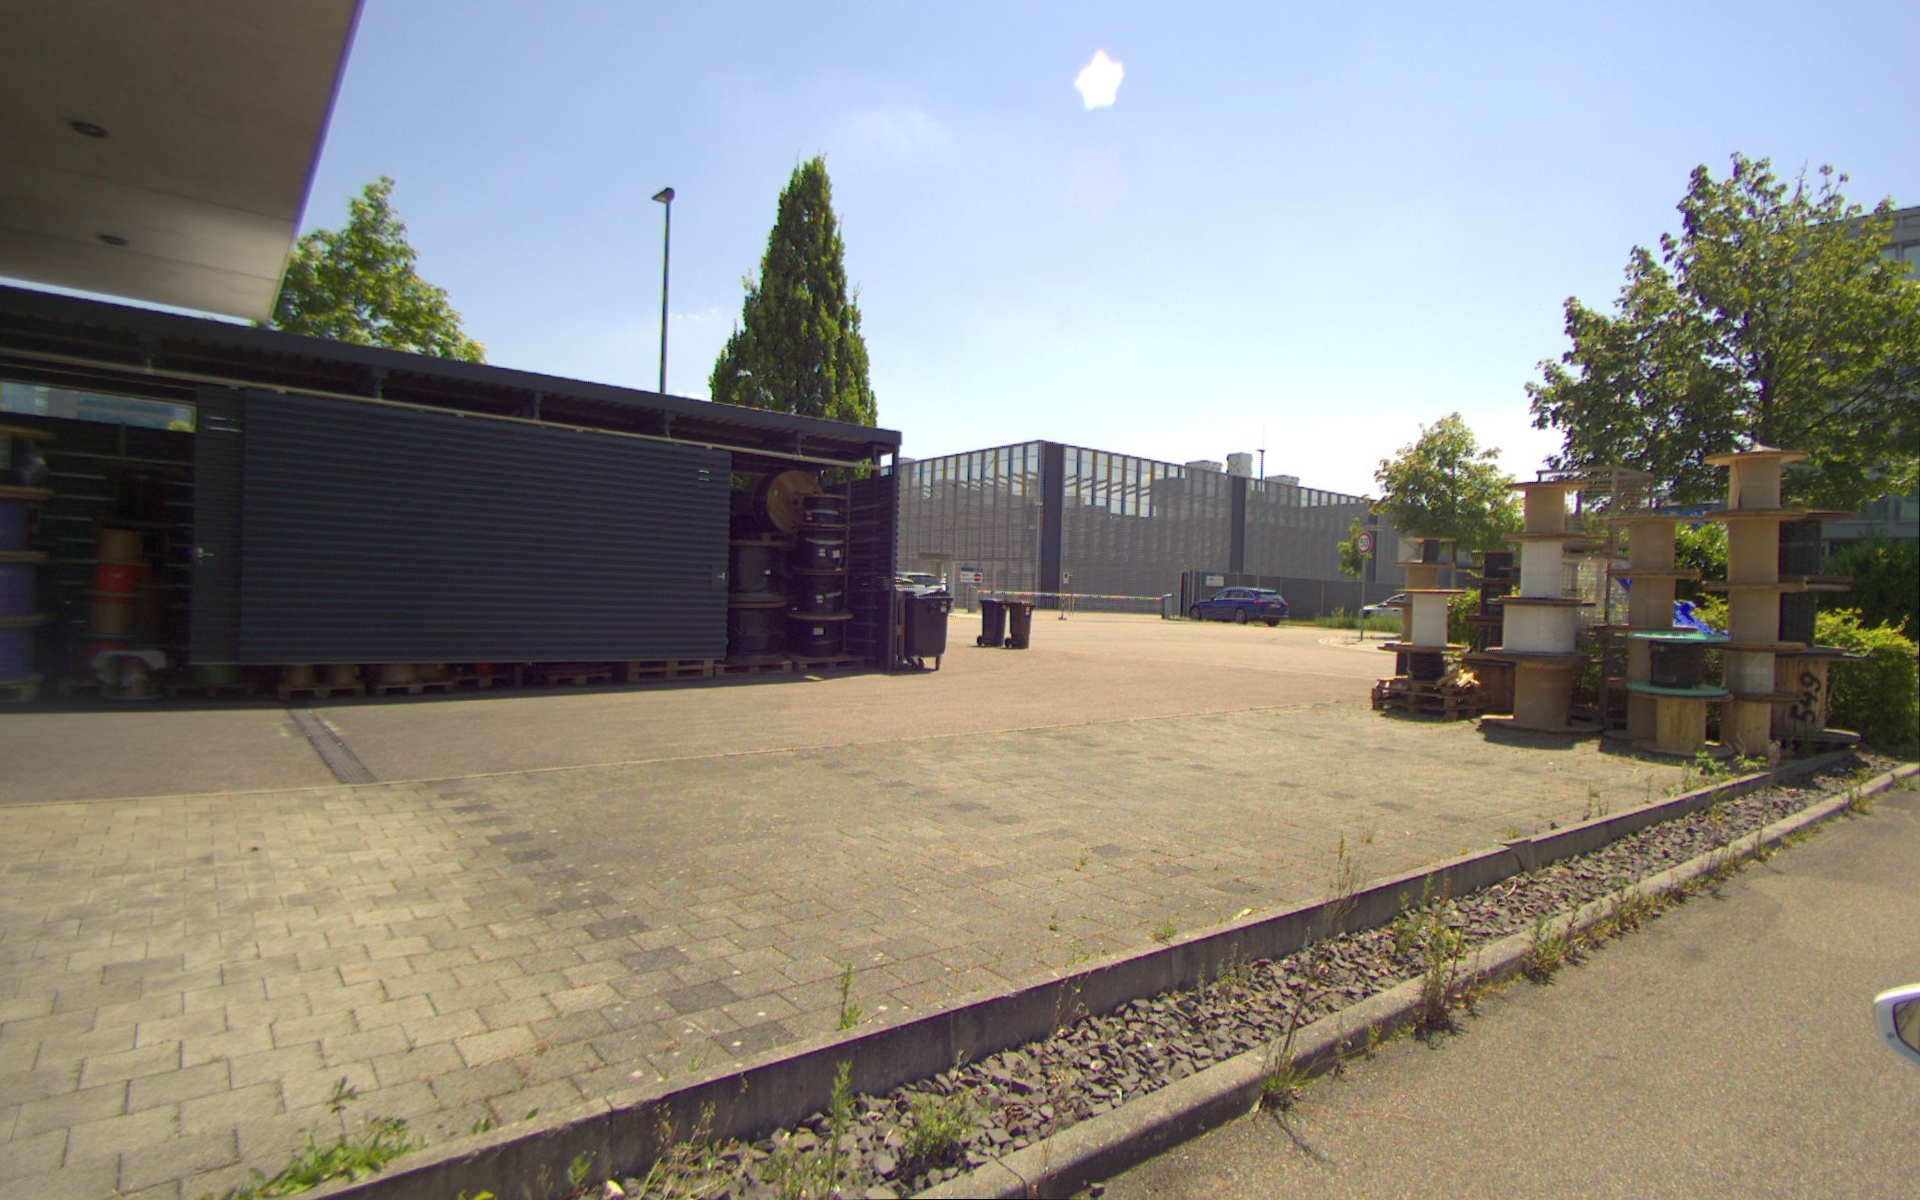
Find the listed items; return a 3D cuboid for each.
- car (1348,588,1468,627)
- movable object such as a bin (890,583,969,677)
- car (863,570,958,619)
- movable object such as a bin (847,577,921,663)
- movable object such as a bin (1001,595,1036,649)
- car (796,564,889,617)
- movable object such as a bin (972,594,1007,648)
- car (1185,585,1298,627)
[{"bbox_3d":[19.913,0.288,44.898,1.972,1.512,4.825,1,2,-24],"label":"car"},{"bbox_3d":[-0.471,0.440,15.275,0.875,1.363,0.806,1,1,-33],"label":"movable object such as a bin"},{"bbox_3d":[-1.821,-0.231,35.368,1.973,1.511,3.975,3,1,-24],"label":"car"},{"bbox_3d":[-1.249,0.318,16.419,0.963,1.347,0.703,1,1,-33],"label":"movable object such as a bin"},{"bbox_3d":[1.152,0.430,19.883,0.567,1.050,0.425,2,1,18],"label":"movable object such as a bin"},{"bbox_3d":[-4.080,-0.366,34.335,1.973,1.612,3.975,3,1,-24],"label":"car"},{"bbox_3d":[0.600,0.416,20.077,0.570,1.041,0.425,2,1,18],"label":"movable object such as a bin"},{"bbox_3d":[11.273,0.213,40.530,1.972,1.512,4.487,1,2,-24],"label":"car"}]
